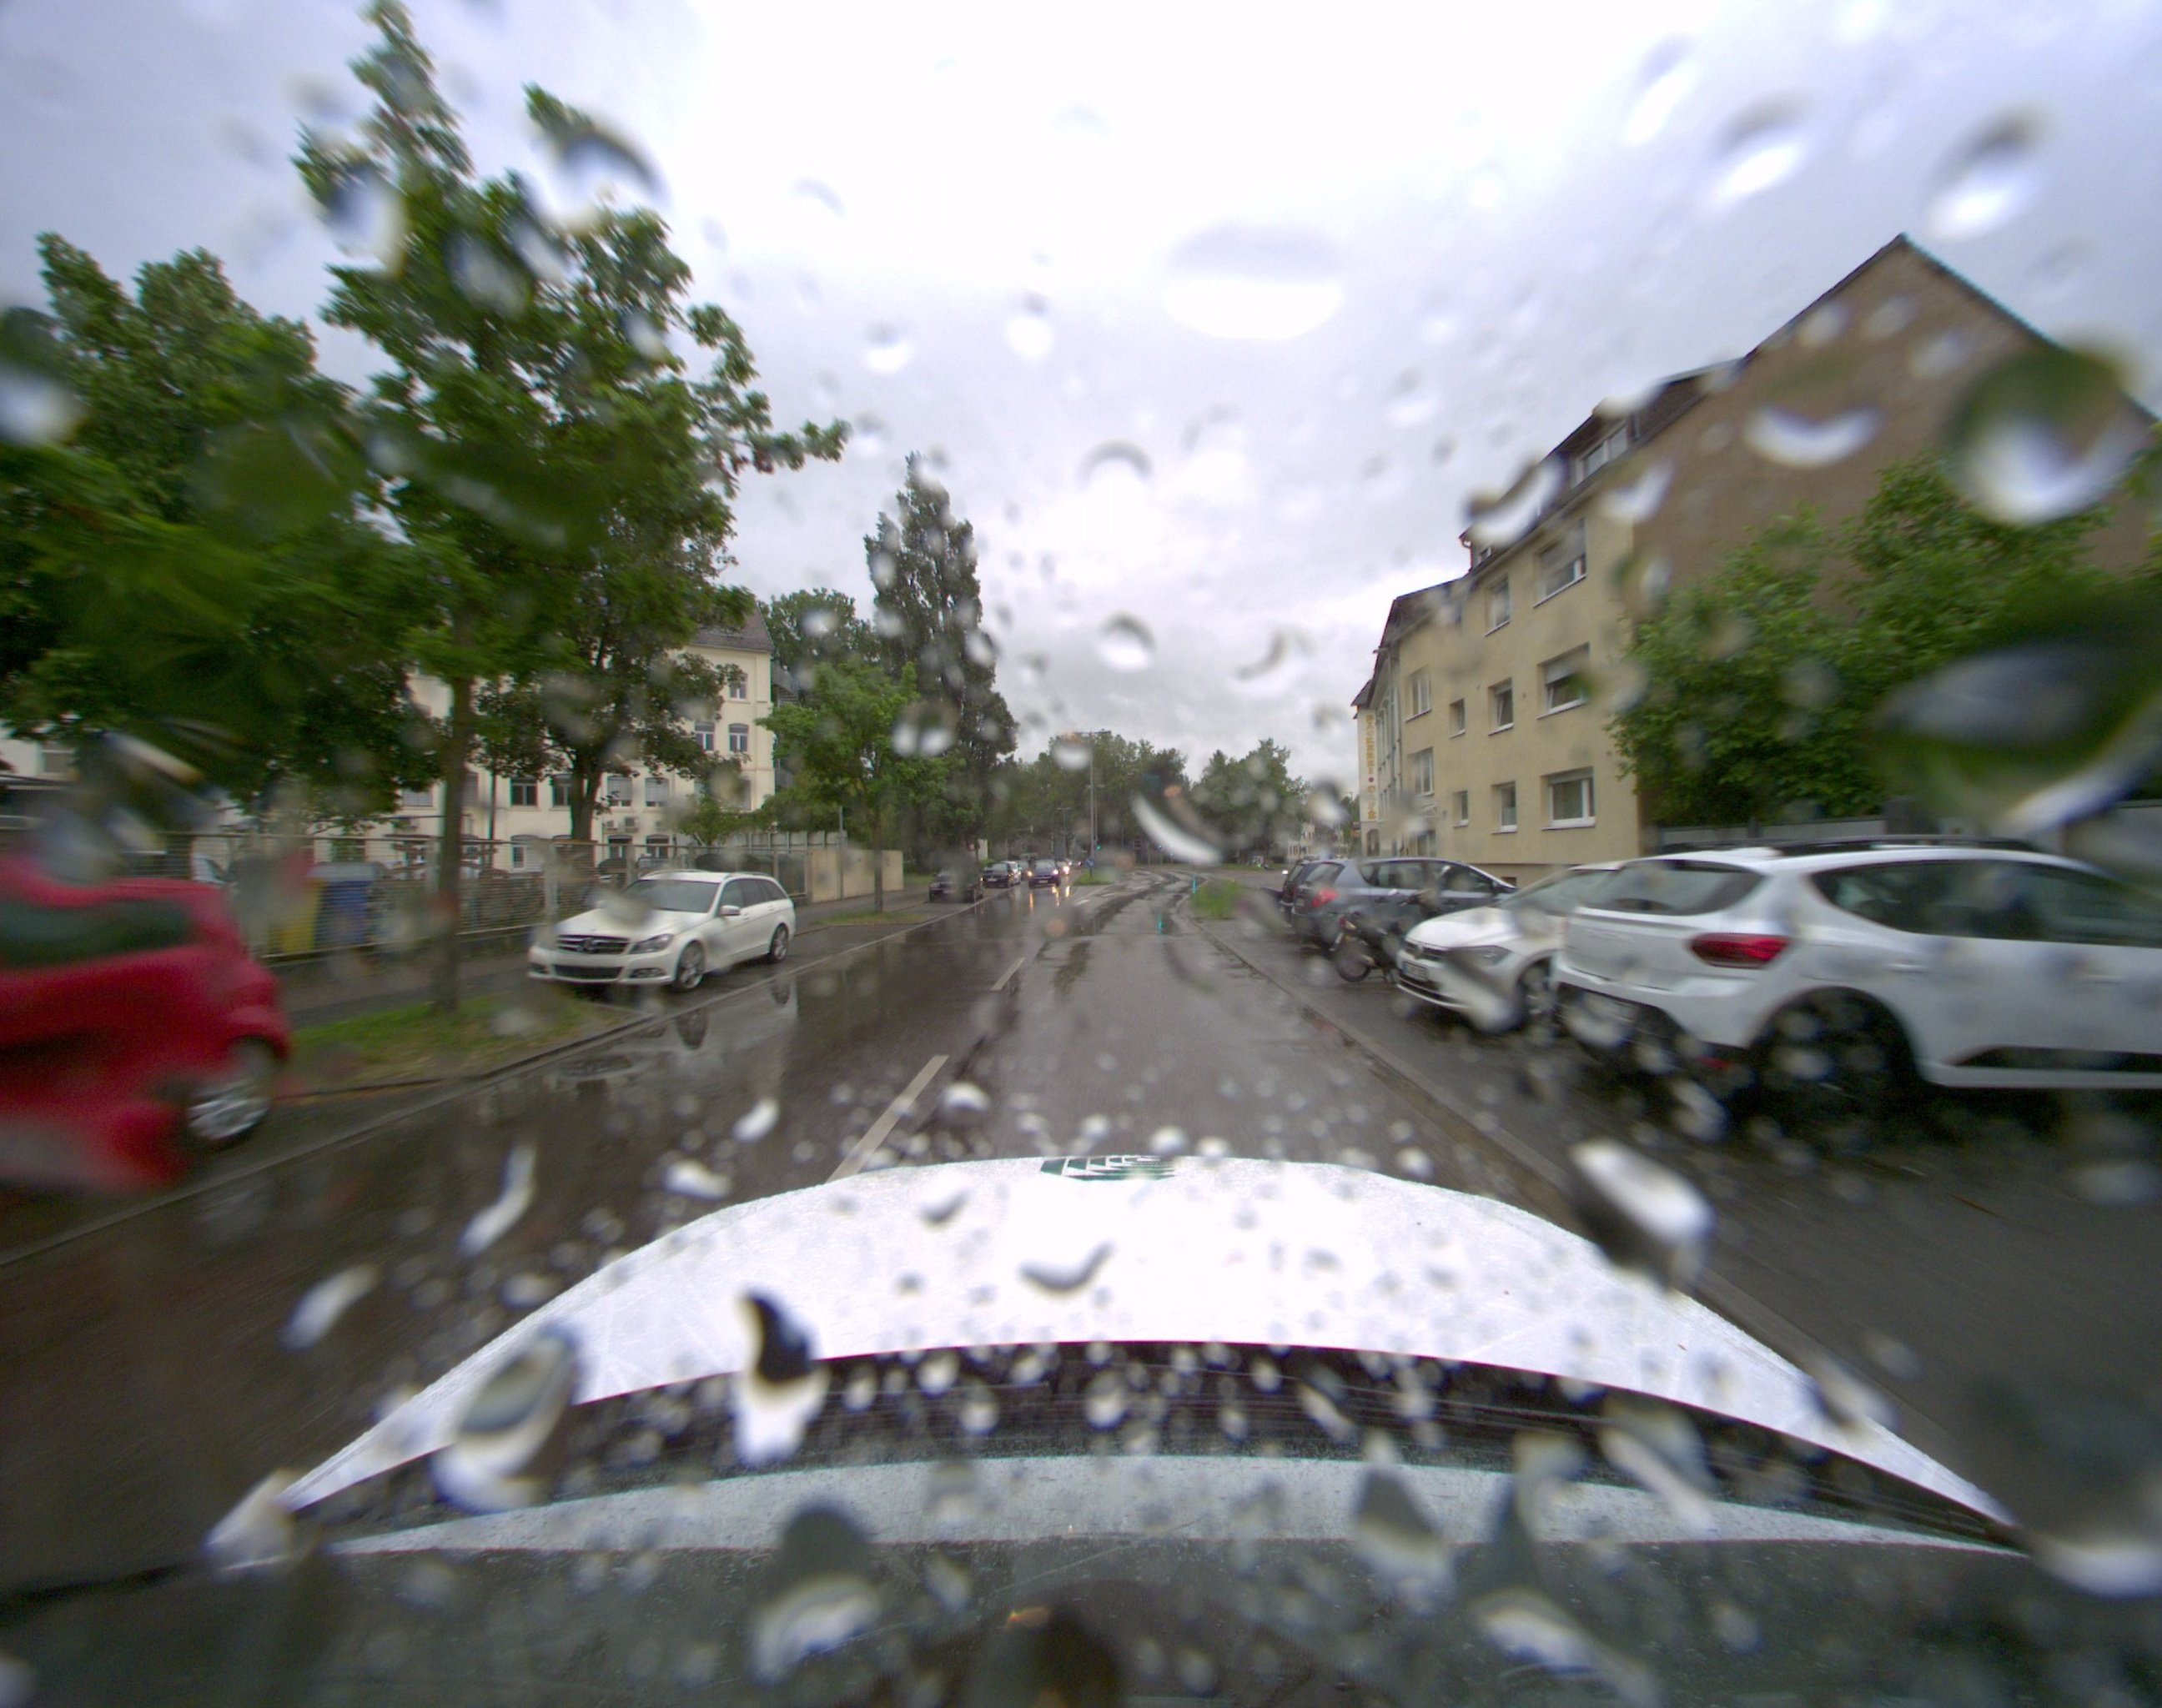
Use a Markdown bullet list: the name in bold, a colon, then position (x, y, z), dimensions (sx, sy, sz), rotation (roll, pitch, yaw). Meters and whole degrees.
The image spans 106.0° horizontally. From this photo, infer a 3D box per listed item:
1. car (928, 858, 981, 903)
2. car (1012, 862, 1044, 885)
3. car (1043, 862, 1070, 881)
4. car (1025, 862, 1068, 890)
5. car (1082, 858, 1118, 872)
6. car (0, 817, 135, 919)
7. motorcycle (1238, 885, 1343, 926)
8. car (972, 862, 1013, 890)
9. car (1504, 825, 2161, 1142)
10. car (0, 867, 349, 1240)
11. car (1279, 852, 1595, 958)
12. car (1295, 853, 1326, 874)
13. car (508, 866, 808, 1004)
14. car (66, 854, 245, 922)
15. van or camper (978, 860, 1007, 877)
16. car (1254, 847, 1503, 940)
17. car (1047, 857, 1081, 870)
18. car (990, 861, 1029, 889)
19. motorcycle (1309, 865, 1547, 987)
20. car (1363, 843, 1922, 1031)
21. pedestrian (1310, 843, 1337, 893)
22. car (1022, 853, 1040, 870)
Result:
- **car**: position (-4.813, 0.967, 31.504), dimensions (1.773, 1.530, 3.993), rotation (0, 1, -5)
- **car**: position (-4.054, 1.475, 62.894), dimensions (1.919, 1.731, 4.003), rotation (-1, -1, 3)
- **car**: position (-2.115, 1.539, 72.319), dimensions (1.918, 1.692, 4.005), rotation (-1, -1, 5)
- **car**: position (-1.872, 1.176, 45.472), dimensions (1.985, 1.486, 4.003), rotation (-1, -1, 3)
- **car**: position (2.271, 1.312, 98.594), dimensions (3.948, 1.689, 1.757), rotation (-1, -1, 33)
- **car**: position (-23.727, 0.320, 18.305), dimensions (2.006, 2.122, 3.961), rotation (0, -1, -30)
- **motorcycle**: position (4.347, 1.072, 17.014), dimensions (2.061, 0.792, 0.712), rotation (-1, 0, 7)
- **car**: position (-4.977, 1.214, 46.313), dimensions (1.924, 1.484, 3.997), rotation (-2, 0, -2)
- **car**: position (5.099, 0.646, 5.043), dimensions (3.974, 1.552, 1.904), rotation (-1, -1, -1)
- **car**: position (-5.455, 0.867, 3.161), dimensions (1.622, 1.598, 4.195), rotation (0, -1, -4)
- **car**: position (5.207, 0.728, 12.379), dimensions (3.972, 1.461, 1.935), rotation (-1, -1, 2)
- **car**: position (19.577, 0.807, 69.414), dimensions (1.975, 1.717, 4.022), rotation (-1, -1, 24)
- **car**: position (-5.538, 0.947, 11.483), dimensions (1.762, 1.529, 4.598), rotation (-1, -1, 1)
- **car**: position (-21.805, 0.748, 19.373), dimensions (1.715, 1.434, 3.614), rotation (0, -1, -30)
- **van or camper**: position (-10.937, 1.739, 100.420), dimensions (1.977, 2.014, 4.019), rotation (-2, 0, 19)
- **car**: position (5.223, 0.690, 14.790), dimensions (3.965, 1.552, 1.749), rotation (-1, -1, 7)
- **car**: position (-2.202, 1.257, 105.400), dimensions (3.948, 1.689, 1.757), rotation (-1, -1, 31)
- **car**: position (-4.547, 1.306, 52.624), dimensions (1.919, 1.731, 4.003), rotation (-1, -1, 3)
- **motorcycle**: position (3.997, 0.800, 9.519), dimensions (2.393, 1.324, 0.918), rotation (-1, -1, -4)
- **car**: position (4.938, 0.680, 7.598), dimensions (3.976, 1.490, 1.861), rotation (-1, -1, -2)
- **pedestrian**: position (9.871, 0.564, 33.123), dimensions (1.002, 2.014, 0.957), rotation (-1, -1, 19)
- **car**: position (-9.663, 1.478, 157.317), dimensions (2.227, 3.238, 4.639), rotation (0, -1, -20)
